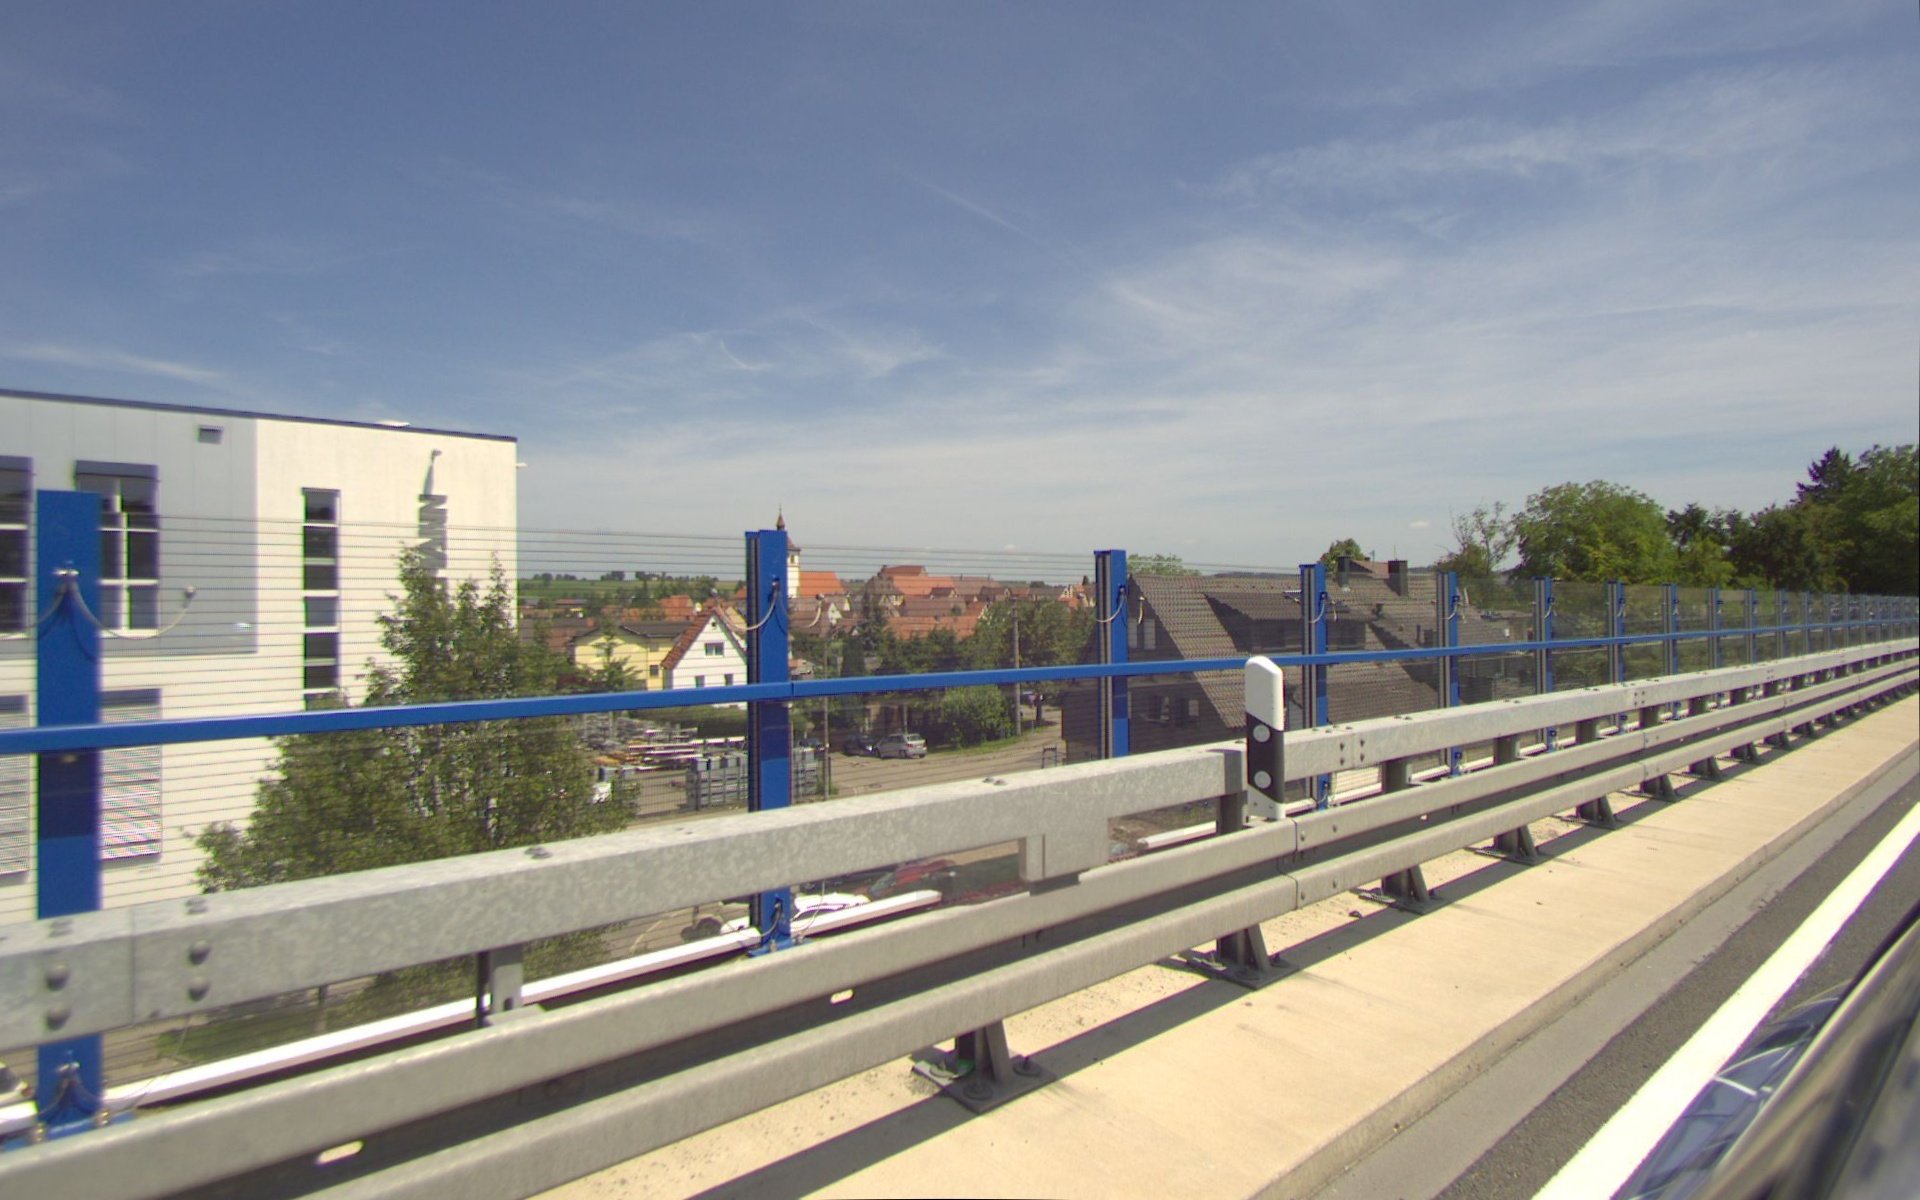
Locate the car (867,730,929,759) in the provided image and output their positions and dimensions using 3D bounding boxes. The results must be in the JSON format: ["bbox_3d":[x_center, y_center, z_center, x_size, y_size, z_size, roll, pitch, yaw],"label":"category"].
[{"bbox_3d":[-4.067,9.500,66.329,1.793,1.589,3.986,-1,-7,-44],"label":"car"}]

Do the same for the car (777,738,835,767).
[{"bbox_3d":[-10.294,10.177,67.431,1.793,1.589,3.986,-1,-7,-44],"label":"car"}]

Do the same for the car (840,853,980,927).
[{"bbox_3d":[-1.543,8.605,30.192,3.919,1.385,1.728,-4,-5,-8],"label":"car"}]

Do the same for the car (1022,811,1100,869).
[{"bbox_3d":[3.803,8.842,37.528,1.708,1.385,3.967,-7,-5,23],"label":"car"}]

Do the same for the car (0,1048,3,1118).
[{"bbox_3d":[-18.669,8.595,17.485,3.627,1.164,1.386,-6,-5,14],"label":"car"}]

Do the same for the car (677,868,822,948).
[{"bbox_3d":[-6.097,8.852,29.294,3.917,1.385,1.729,-4,-5,-14],"label":"car"}]
